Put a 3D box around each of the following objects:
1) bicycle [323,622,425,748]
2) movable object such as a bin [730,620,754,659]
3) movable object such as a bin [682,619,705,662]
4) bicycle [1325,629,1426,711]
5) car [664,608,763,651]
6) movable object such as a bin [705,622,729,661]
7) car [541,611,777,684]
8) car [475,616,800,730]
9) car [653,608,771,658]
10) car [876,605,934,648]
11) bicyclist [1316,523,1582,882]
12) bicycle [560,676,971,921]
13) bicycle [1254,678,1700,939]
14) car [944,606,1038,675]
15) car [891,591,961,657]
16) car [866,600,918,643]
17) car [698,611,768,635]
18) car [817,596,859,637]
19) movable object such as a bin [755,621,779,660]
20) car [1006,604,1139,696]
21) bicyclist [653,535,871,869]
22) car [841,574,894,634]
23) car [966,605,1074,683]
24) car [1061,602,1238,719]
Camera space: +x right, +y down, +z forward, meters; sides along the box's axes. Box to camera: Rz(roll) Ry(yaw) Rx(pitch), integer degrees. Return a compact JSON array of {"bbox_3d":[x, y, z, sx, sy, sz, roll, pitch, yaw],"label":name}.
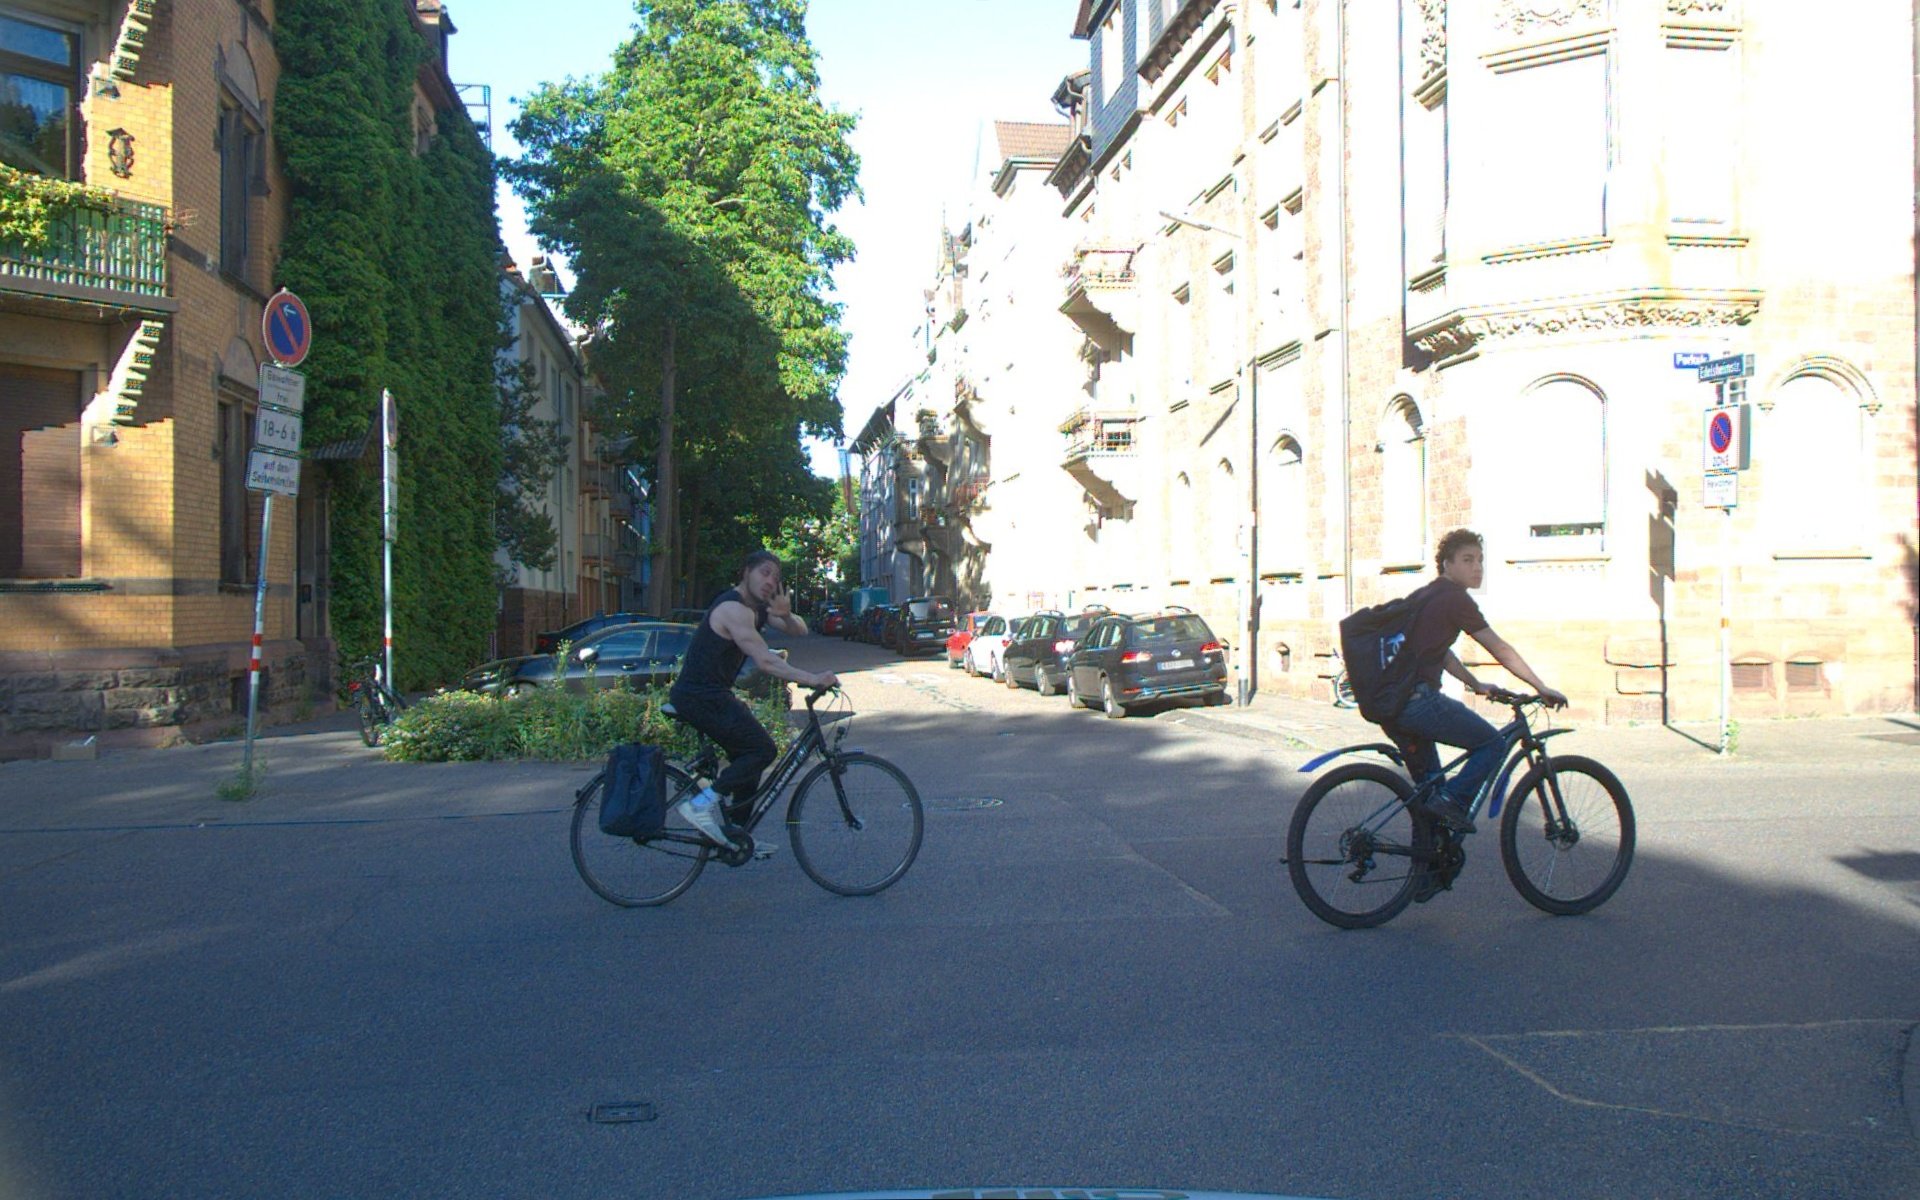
[{"bbox_3d":[-6.421,0.903,18.190,0.551,1.290,1.602,-1,0,-1],"label":"bicycle"},{"bbox_3d":[-6.088,1.111,46.205,0.618,1.071,0.566,1,-1,-14],"label":"movable object such as a bin"},{"bbox_3d":[-7.398,1.123,45.905,0.588,1.173,0.485,1,-1,-14],"label":"movable object such as a bin"},{"bbox_3d":[5.424,0.896,21.662,0.506,1.015,1.567,1,-1,-20],"label":"bicycle"},{"bbox_3d":[-9.570,1.147,64.076,3.732,1.603,1.706,1,-1,-10],"label":"car"},{"bbox_3d":[-6.757,1.145,46.007,0.618,1.071,0.566,1,-1,-14],"label":"movable object such as a bin"},{"bbox_3d":[-6.292,0.989,34.849,4.747,1.460,1.706,1,-1,-10],"label":"car"},{"bbox_3d":[-4.351,0.968,22.672,4.166,1.460,1.995,1,-1,-10],"label":"car"},{"bbox_3d":[-8.140,1.077,54.148,3.734,1.603,1.705,1,-1,-12],"label":"car"},{"bbox_3d":[-2.081,0.976,61.537,1.769,1.541,3.993,1,-1,-8],"label":"car"},{"bbox_3d":[2.229,0.450,7.611,0.951,1.553,0.719,1,-1,-11],"label":"bicyclist"},{"bbox_3d":[-0.970,0.934,8.178,1.930,1.091,0.695,1,-1,-16],"label":"bicycle"},{"bbox_3d":[2.385,0.932,7.667,1.927,1.091,0.556,1,2,-12],"label":"bicycle"},{"bbox_3d":[0.713,0.968,40.802,1.705,1.609,3.993,1,-1,-8],"label":"car"},{"bbox_3d":[-1.133,0.771,53.378,1.769,2.039,3.993,1,-1,-8],"label":"car"},{"bbox_3d":[-2.824,0.863,68.175,1.769,1.708,3.993,1,-1,-8],"label":"car"},{"bbox_3d":[-12.341,1.238,89.941,3.732,1.262,1.706,1,-1,-10],"label":"car"},{"bbox_3d":[-7.060,0.957,95.365,2.125,2.276,4.782,1,-1,-8],"label":"car"},{"bbox_3d":[-5.408,1.133,46.335,0.618,1.071,0.566,1,-1,-14],"label":"movable object such as a bin"},{"bbox_3d":[2.035,0.902,31.036,1.705,1.609,3.993,1,-1,-8],"label":"car"},{"bbox_3d":[-0.991,0.480,8.162,0.953,1.553,0.705,1,-1,-17],"label":"bicyclist"},{"bbox_3d":[-4.424,0.217,78.462,2.125,2.738,4.782,1,-1,-8],"label":"car"},{"bbox_3d":[1.262,0.937,36.325,1.705,1.609,3.993,1,-1,-8],"label":"car"},{"bbox_3d":[2.762,0.860,24.967,1.705,1.609,3.993,1,-1,-8],"label":"car"}]
